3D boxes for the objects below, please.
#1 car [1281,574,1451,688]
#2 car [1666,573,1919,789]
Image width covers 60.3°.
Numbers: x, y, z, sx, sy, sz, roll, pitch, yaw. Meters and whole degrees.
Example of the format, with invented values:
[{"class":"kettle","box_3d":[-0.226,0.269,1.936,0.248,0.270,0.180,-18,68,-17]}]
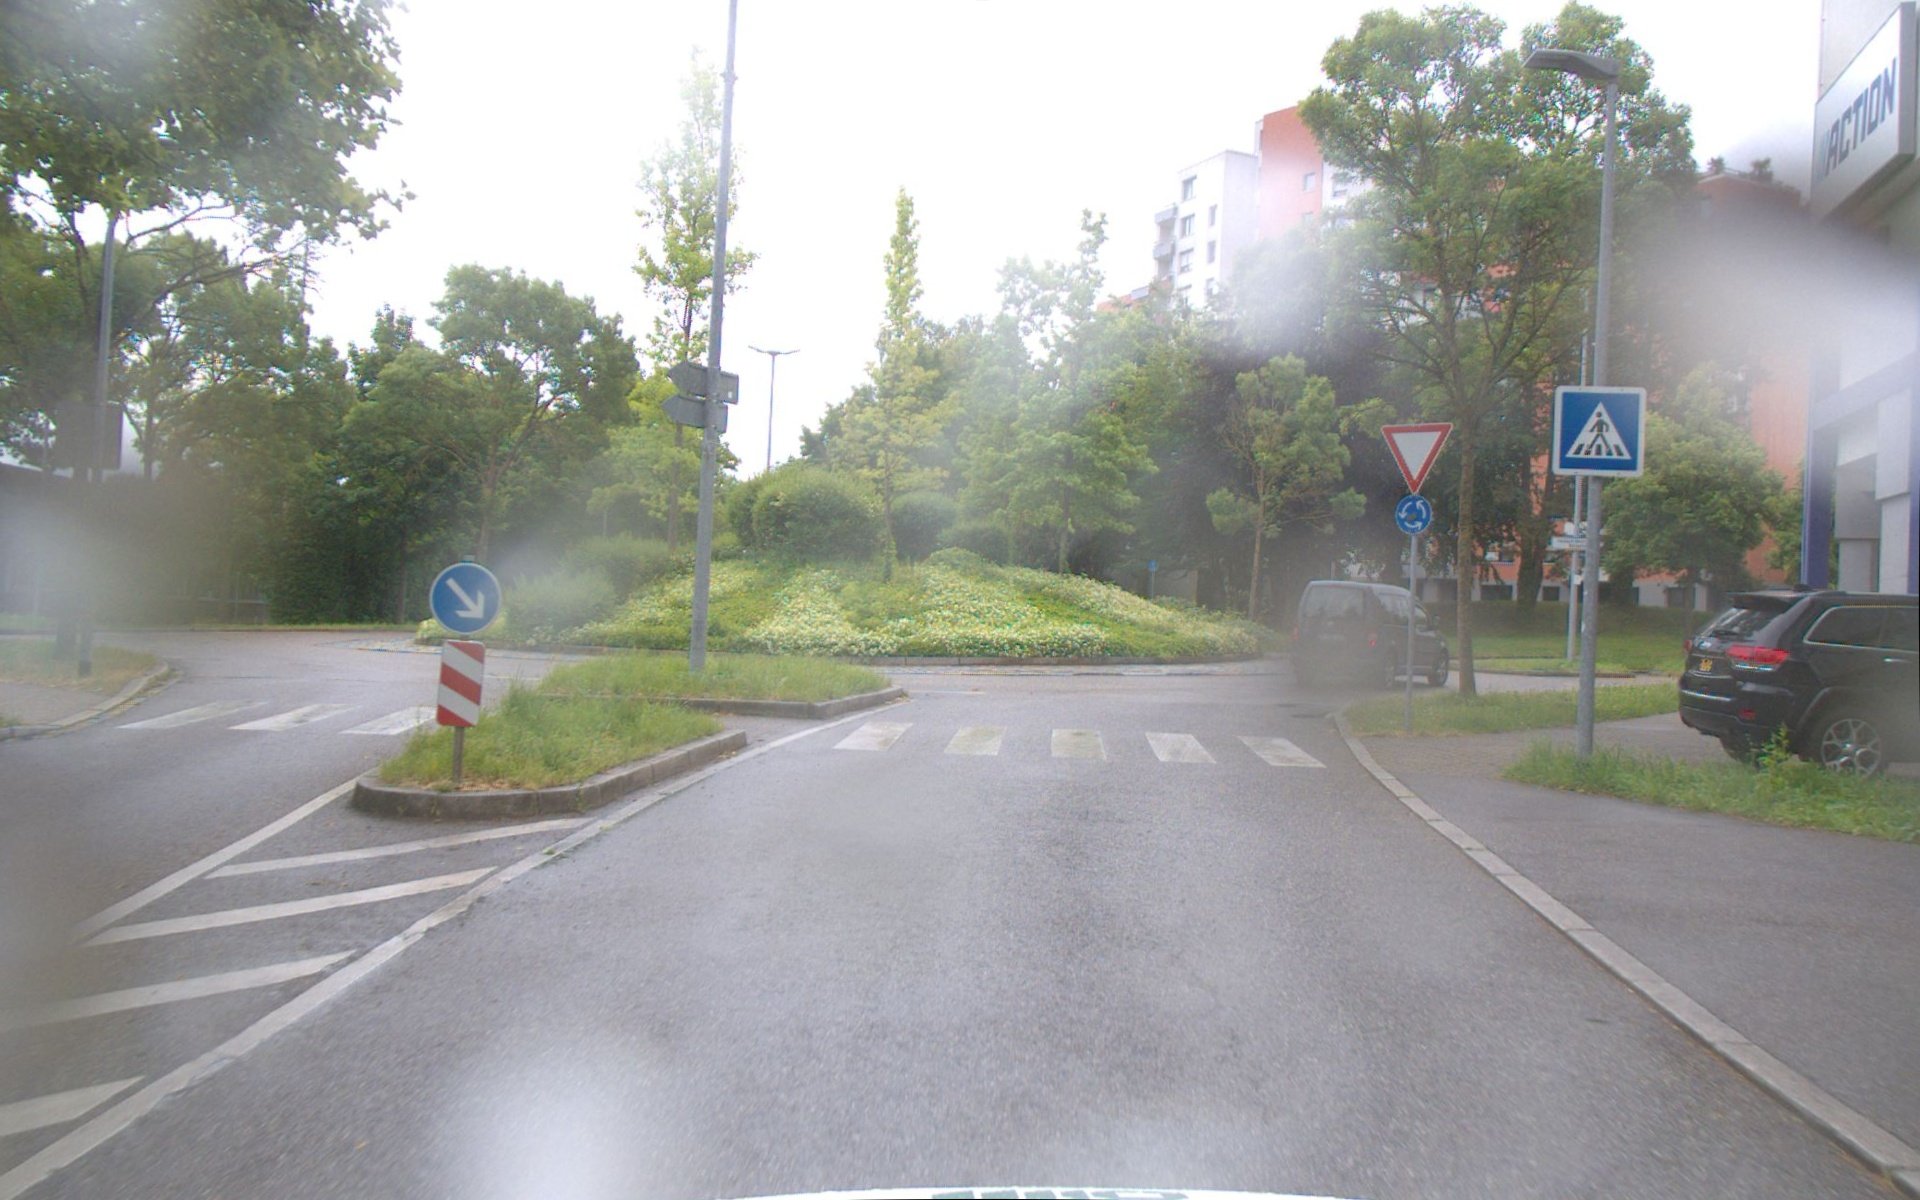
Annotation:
[{"class":"car","box_3d":[7.456,0.489,30.176,1.884,1.832,3.780,3,3,32]},{"class":"car","box_3d":[9.233,0.792,15.591,4.288,1.789,1.829,4,2,0]}]
